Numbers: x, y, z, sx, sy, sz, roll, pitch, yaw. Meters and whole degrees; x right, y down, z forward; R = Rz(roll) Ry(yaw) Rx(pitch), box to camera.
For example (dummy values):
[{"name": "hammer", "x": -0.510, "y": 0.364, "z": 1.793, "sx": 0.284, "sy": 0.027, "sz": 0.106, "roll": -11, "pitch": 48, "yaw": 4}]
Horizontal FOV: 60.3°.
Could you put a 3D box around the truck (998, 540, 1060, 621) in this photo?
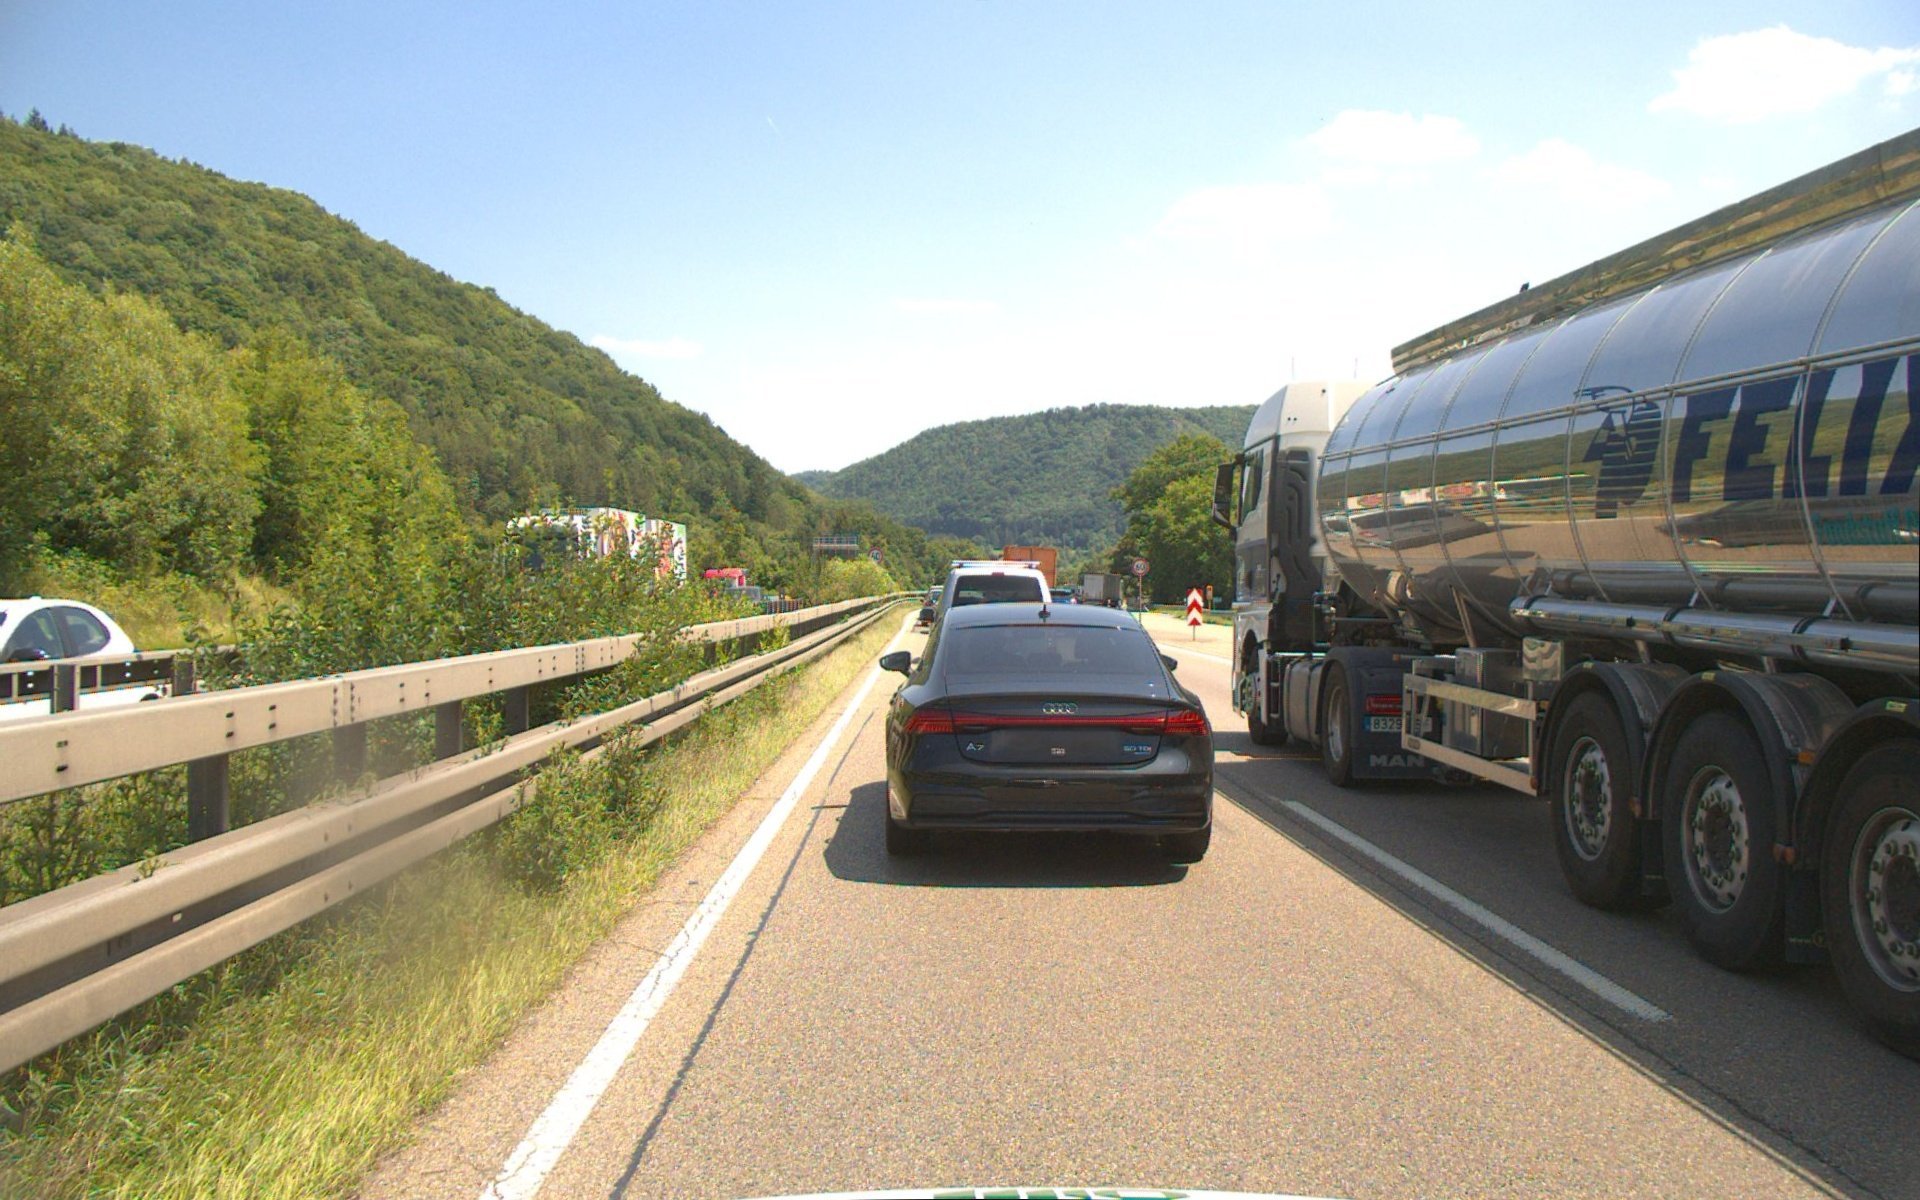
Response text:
[{"name": "truck", "x": 3.666, "y": -1.053, "z": 91.061, "sx": 2.760, "sy": 4.073, "sz": 14.955, "roll": 1, "pitch": 0, "yaw": 0}]

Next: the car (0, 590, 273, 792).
[{"name": "car", "x": -7.800, "y": 0.662, "z": 14.504, "sx": 1.761, "sy": 1.489, "sz": 4.535, "roll": 0, "pitch": 0, "yaw": -2}]

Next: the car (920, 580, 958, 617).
[{"name": "car", "x": -0.961, "y": -0.084, "z": 77.258, "sx": 1.677, "sy": 1.646, "sz": 4.000, "roll": 0, "pitch": 0, "yaw": 0}]

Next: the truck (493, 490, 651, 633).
[{"name": "truck", "x": -12.109, "y": -1.159, "z": 52.663, "sx": 2.811, "sy": 4.076, "sz": 10.168, "roll": 1, "pitch": 0, "yaw": -1}]

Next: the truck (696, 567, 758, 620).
[{"name": "truck", "x": -12.133, "y": -0.374, "z": 86.621, "sx": 2.249, "sy": 2.633, "sz": 7.966, "roll": 1, "pitch": 0, "yaw": -1}]

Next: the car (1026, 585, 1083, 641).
[{"name": "car", "x": 3.532, "y": 0.449, "z": 62.428, "sx": 1.952, "sy": 2.037, "sz": 4.000, "roll": 0, "pitch": 0, "yaw": 0}]

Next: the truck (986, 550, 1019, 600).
[{"name": "truck", "x": 3.037, "y": -1.787, "z": 120.909, "sx": 1.953, "sy": 3.507, "sz": 11.810, "roll": 1, "pitch": 0, "yaw": -1}]

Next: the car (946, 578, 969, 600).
[{"name": "car", "x": -0.193, "y": -0.818, "z": 122.573, "sx": 1.677, "sy": 1.646, "sz": 4.000, "roll": 0, "pitch": 0, "yaw": 0}]

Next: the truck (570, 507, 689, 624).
[{"name": "truck", "x": -12.279, "y": -1.245, "z": 62.308, "sx": 2.811, "sy": 4.050, "sz": 9.029, "roll": 1, "pitch": 0, "yaw": -1}]

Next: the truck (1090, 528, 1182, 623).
[{"name": "truck", "x": 8.167, "y": -1.132, "z": 78.863, "sx": 2.760, "sy": 4.073, "sz": 14.955, "roll": 1, "pitch": 0, "yaw": 0}]

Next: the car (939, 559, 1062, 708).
[{"name": "car", "x": 0.491, "y": 0.410, "z": 23.033, "sx": 1.544, "sy": 1.865, "sz": 3.999, "roll": 1, "pitch": 0, "yaw": -1}]

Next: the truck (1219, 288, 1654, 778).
[{"name": "truck", "x": 4.166, "y": -0.541, "z": 15.640, "sx": 2.460, "sy": 3.824, "sz": 5.244, "roll": 1, "pitch": 0, "yaw": -1}]

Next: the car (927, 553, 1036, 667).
[{"name": "car", "x": 0.355, "y": 0.166, "z": 32.043, "sx": 1.953, "sy": 2.049, "sz": 3.999, "roll": 1, "pitch": 0, "yaw": -1}]

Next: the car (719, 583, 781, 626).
[{"name": "car", "x": -8.574, "y": 0.150, "z": 67.978, "sx": 1.953, "sy": 1.670, "sz": 5.031, "roll": 1, "pitch": 0, "yaw": -1}]

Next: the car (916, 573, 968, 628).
[{"name": "car", "x": -0.711, "y": -0.003, "z": 63.534, "sx": 1.953, "sy": 2.049, "sz": 3.999, "roll": 0, "pitch": 0, "yaw": -1}]

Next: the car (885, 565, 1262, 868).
[{"name": "car", "x": 0.491, "y": 0.575, "z": 10.386, "sx": 1.813, "sy": 1.514, "sz": 4.080, "roll": 1, "pitch": 0, "yaw": -4}]

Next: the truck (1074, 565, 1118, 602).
[{"name": "truck", "x": 17.044, "y": -2.037, "z": 205.529, "sx": 3.712, "sy": 4.491, "sz": 14.968, "roll": 0, "pitch": 0, "yaw": 11}]

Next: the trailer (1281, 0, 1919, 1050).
[{"name": "trailer", "x": 4.307, "y": -0.452, "z": 9.028, "sx": 2.487, "sy": 3.800, "sz": 11.888, "roll": 1, "pitch": 0, "yaw": -1}]
